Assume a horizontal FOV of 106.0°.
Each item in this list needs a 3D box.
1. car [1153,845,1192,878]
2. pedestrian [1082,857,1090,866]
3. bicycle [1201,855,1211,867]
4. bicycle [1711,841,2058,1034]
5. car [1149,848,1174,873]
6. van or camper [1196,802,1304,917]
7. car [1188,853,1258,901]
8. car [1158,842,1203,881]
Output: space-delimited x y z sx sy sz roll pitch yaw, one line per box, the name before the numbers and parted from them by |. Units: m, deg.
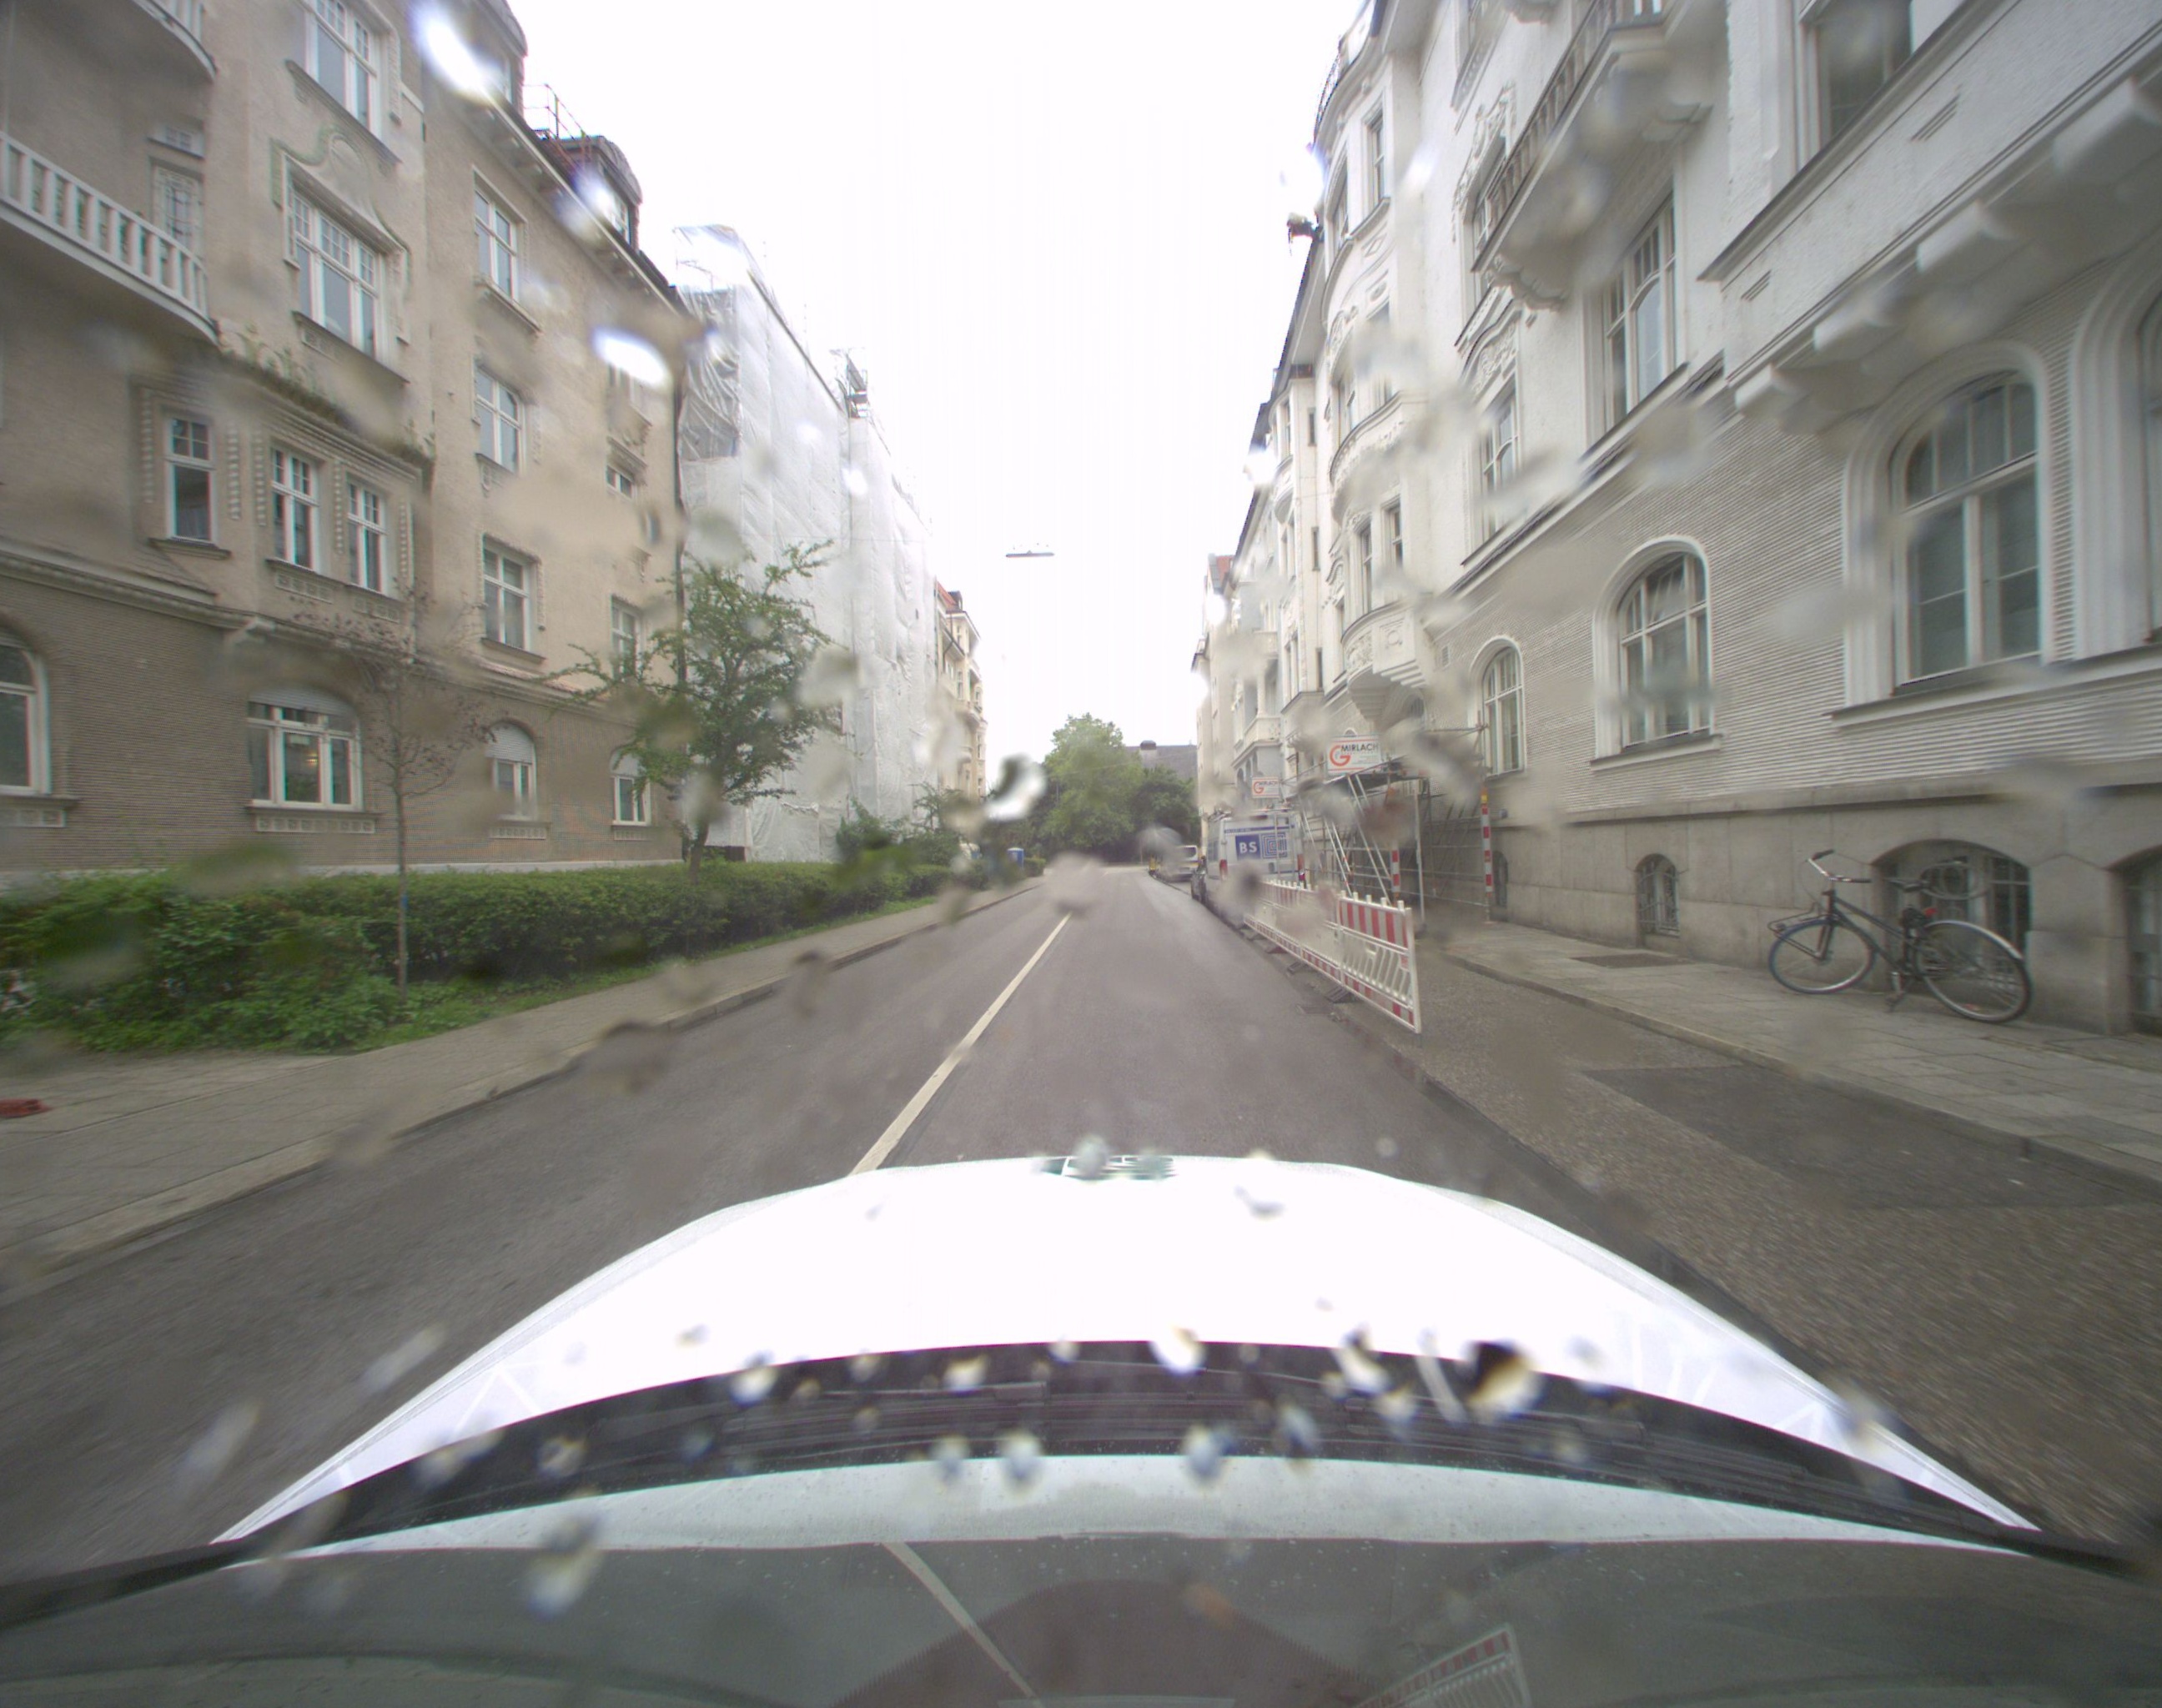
car | 5.868 0.446 52.717 1.952 1.937 4.994 -2 0 1
pedestrian | 0.674 0.993 105.335 0.807 1.189 0.922 -2 0 9
bicycle | 12.033 0.645 78.170 0.691 1.094 2.285 -4 0 4
bicycle | 6.032 0.551 6.318 0.658 1.206 1.921 -6 0 -1
car | 6.320 0.504 63.981 1.841 1.853 4.828 -2 0 6
van or camper | 4.377 0.136 21.951 1.945 2.637 5.462 -2 0 3
car | 4.721 0.719 27.585 1.747 1.434 4.088 -2 0 2
car | 5.621 0.405 46.547 1.952 2.013 4.994 -2 0 1
